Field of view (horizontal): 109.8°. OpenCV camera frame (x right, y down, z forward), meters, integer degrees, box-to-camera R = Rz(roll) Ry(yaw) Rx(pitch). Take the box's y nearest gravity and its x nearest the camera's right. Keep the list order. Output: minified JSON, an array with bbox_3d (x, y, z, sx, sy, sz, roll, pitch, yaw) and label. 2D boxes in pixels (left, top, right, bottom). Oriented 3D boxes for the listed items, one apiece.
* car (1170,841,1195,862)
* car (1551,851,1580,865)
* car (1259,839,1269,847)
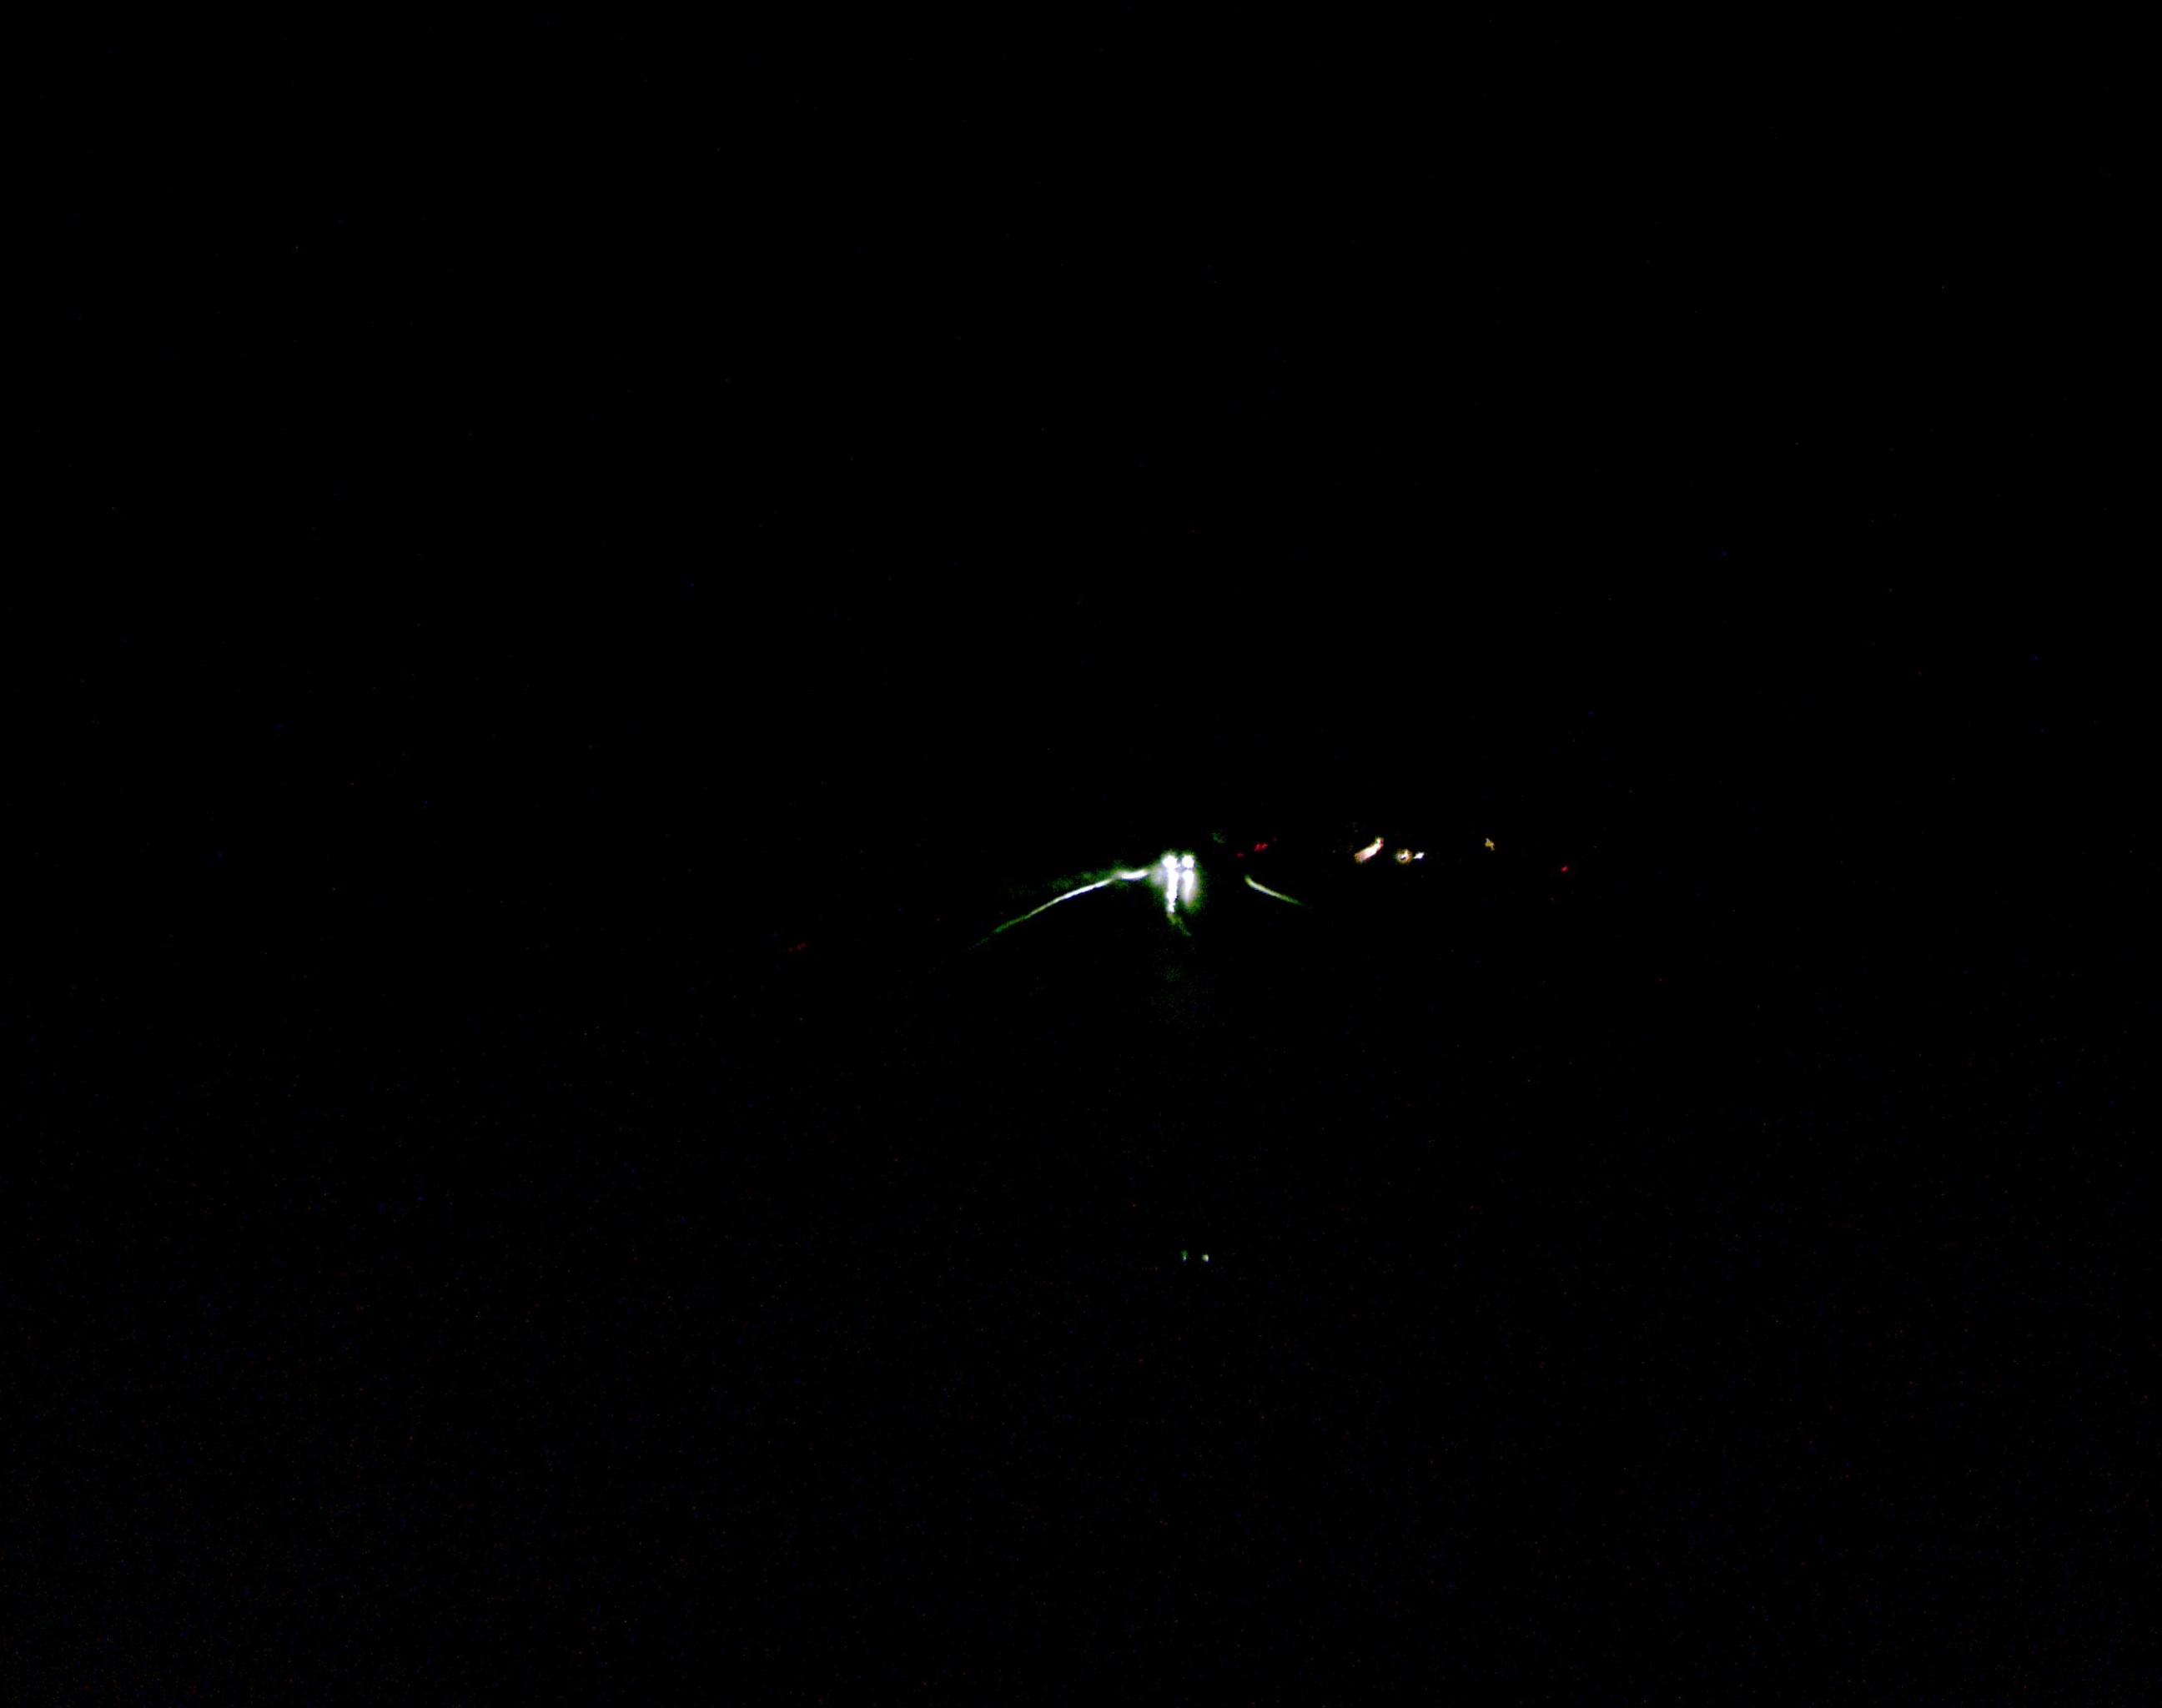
[{"bbox_3d":[8.727,-0.264,64.938,1.958,1.712,4.002,-1,1,9],"label":"car"},{"bbox_3d":[59.495,0.468,93.408,1.658,1.512,3.451,-2,1,8],"label":"car"},{"bbox_3d":[37.691,-2.246,156.180,1.737,1.533,4.004,-2,1,16],"label":"car"}]
